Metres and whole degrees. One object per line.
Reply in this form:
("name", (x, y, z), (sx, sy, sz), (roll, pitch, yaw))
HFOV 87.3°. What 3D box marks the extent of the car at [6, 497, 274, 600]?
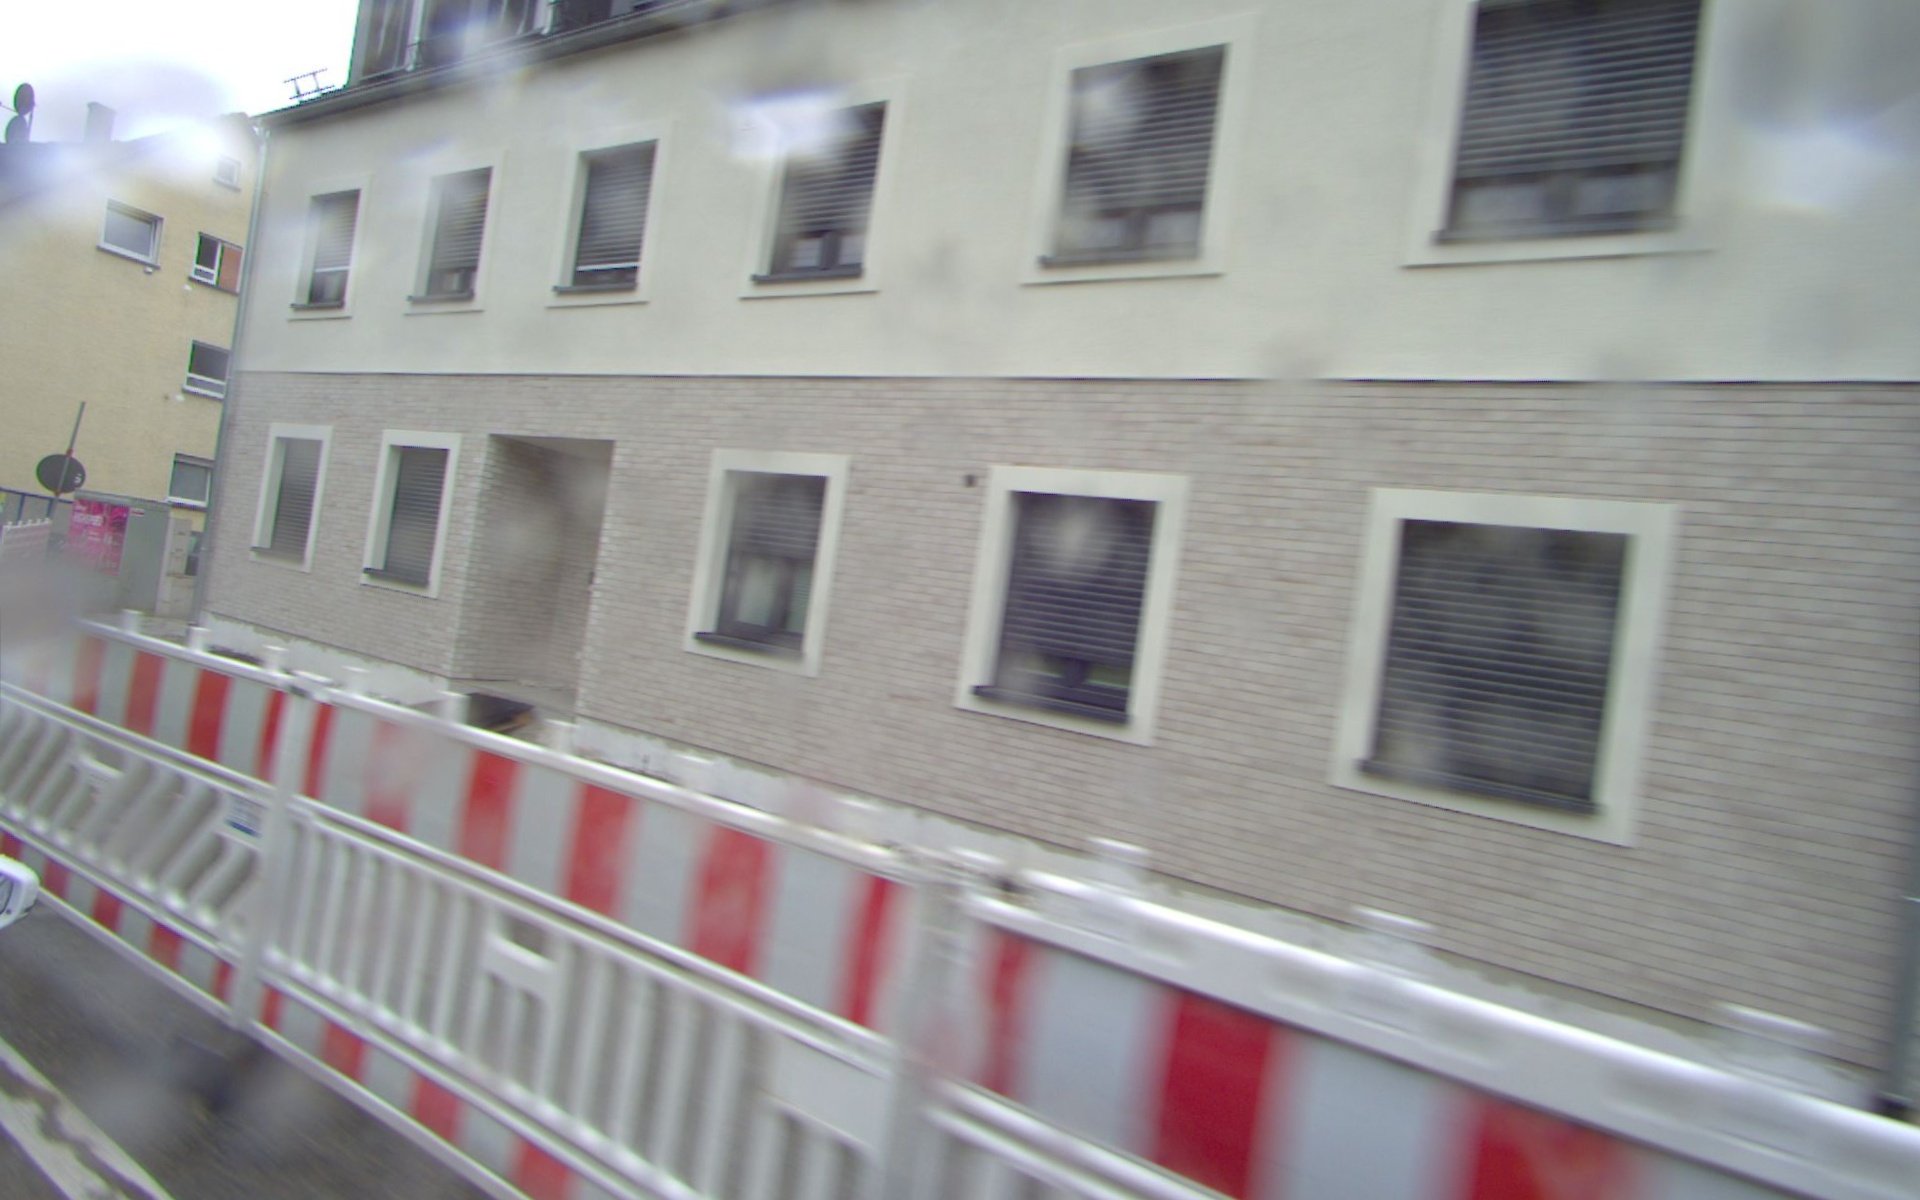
("car", (-18.266, -1.089, 22.618), (1.880, 1.314, 4.161), (7, -6, 30))
